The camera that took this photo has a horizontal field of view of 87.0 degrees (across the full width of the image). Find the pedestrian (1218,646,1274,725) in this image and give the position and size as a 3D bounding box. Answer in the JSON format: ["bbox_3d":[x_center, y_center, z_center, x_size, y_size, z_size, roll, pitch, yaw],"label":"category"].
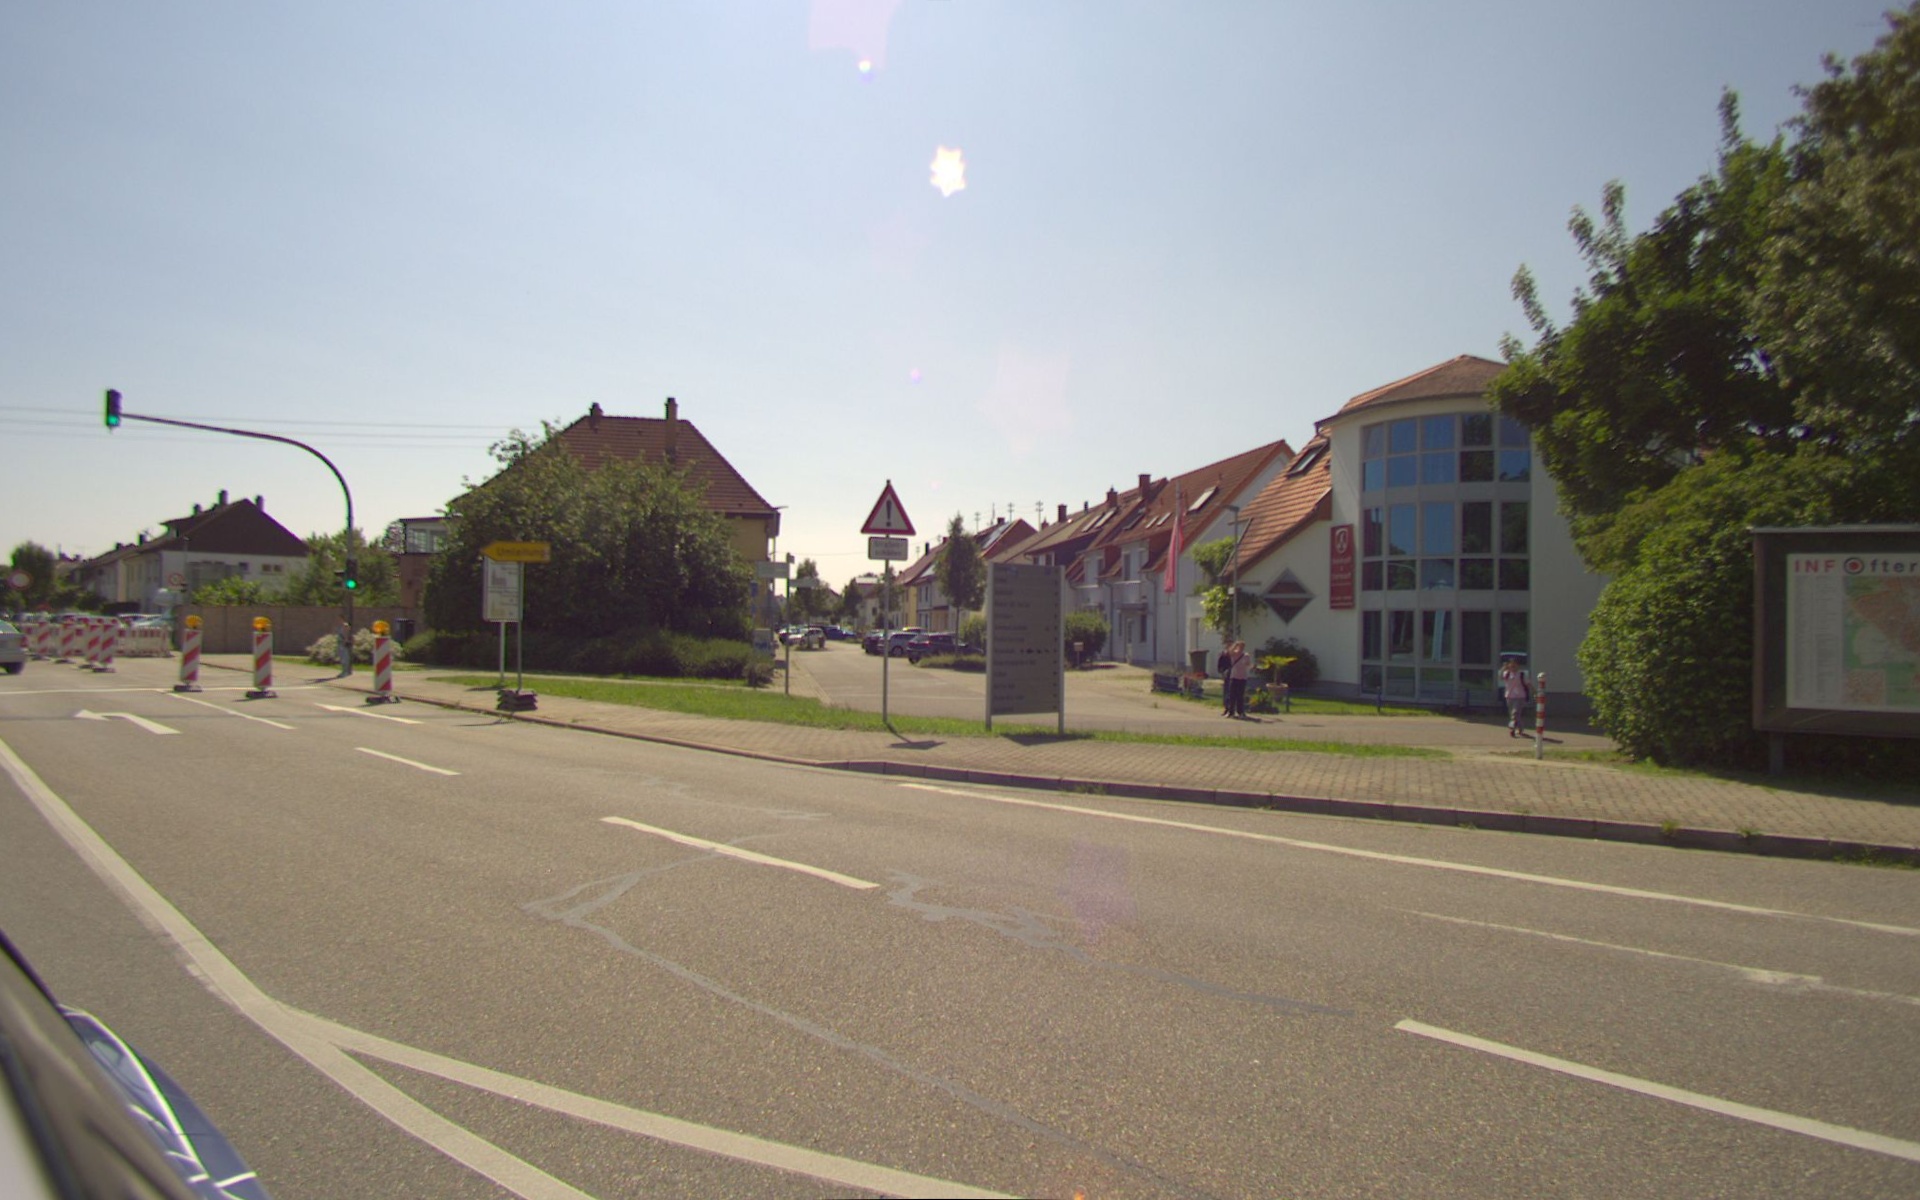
[{"bbox_3d":[6.545,1.947,23.176,0.944,1.753,0.818,1,-2,-17],"label":"pedestrian"}]

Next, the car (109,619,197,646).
[{"bbox_3d":[-50.439,2.015,63.332,1.765,1.628,3.951,-1,-2,36],"label":"car"}]

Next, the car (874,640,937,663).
[{"bbox_3d":[-3.117,2.933,57.622,3.281,1.281,1.426,2,-2,-19],"label":"car"}]

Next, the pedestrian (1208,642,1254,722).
[{"bbox_3d":[6.402,1.918,23.949,0.791,1.835,0.712,1,-2,-16],"label":"pedestrian"}]

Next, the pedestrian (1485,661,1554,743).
[{"bbox_3d":[11.373,2.055,20.603,0.776,1.578,0.926,1,-2,-20],"label":"pedestrian"}]

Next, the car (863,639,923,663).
[{"bbox_3d":[-3.947,3.023,59.647,3.282,1.342,1.426,2,-2,-18],"label":"car"}]

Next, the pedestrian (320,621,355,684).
[{"bbox_3d":[-16.377,1.362,26.622,0.688,1.620,0.607,-1,0,43],"label":"pedestrian"}]

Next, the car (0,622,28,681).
[{"bbox_3d":[-25.056,1.253,25.235,3.967,1.414,1.686,-1,-2,33],"label":"car"}]

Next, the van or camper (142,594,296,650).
[{"bbox_3d":[-39.513,1.206,54.177,2.284,2.866,6.190,-1,-2,34],"label":"van or camper"}]

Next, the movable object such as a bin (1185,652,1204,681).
[{"bbox_3d":[8.855,2.514,38.196,0.562,1.070,0.395,-1,-3,36],"label":"movable object such as a bin"}]

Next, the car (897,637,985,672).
[{"bbox_3d":[-0.854,2.519,47.556,3.939,1.472,1.805,1,-2,-43],"label":"car"}]

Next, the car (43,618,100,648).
[{"bbox_3d":[-51.081,1.873,58.138,4.226,1.603,1.838,-1,-4,41],"label":"car"}]

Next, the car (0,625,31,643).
[{"bbox_3d":[-81.405,2.910,87.032,3.914,1.525,1.717,-1,-2,41],"label":"car"}]

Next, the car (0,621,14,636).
[{"bbox_3d":[-95.598,2.811,100.649,3.914,1.428,1.717,-1,-2,41],"label":"car"}]

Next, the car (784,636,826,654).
[{"bbox_3d":[-13.033,3.796,85.239,1.380,1.424,3.519,-1,-3,39],"label":"car"}]
